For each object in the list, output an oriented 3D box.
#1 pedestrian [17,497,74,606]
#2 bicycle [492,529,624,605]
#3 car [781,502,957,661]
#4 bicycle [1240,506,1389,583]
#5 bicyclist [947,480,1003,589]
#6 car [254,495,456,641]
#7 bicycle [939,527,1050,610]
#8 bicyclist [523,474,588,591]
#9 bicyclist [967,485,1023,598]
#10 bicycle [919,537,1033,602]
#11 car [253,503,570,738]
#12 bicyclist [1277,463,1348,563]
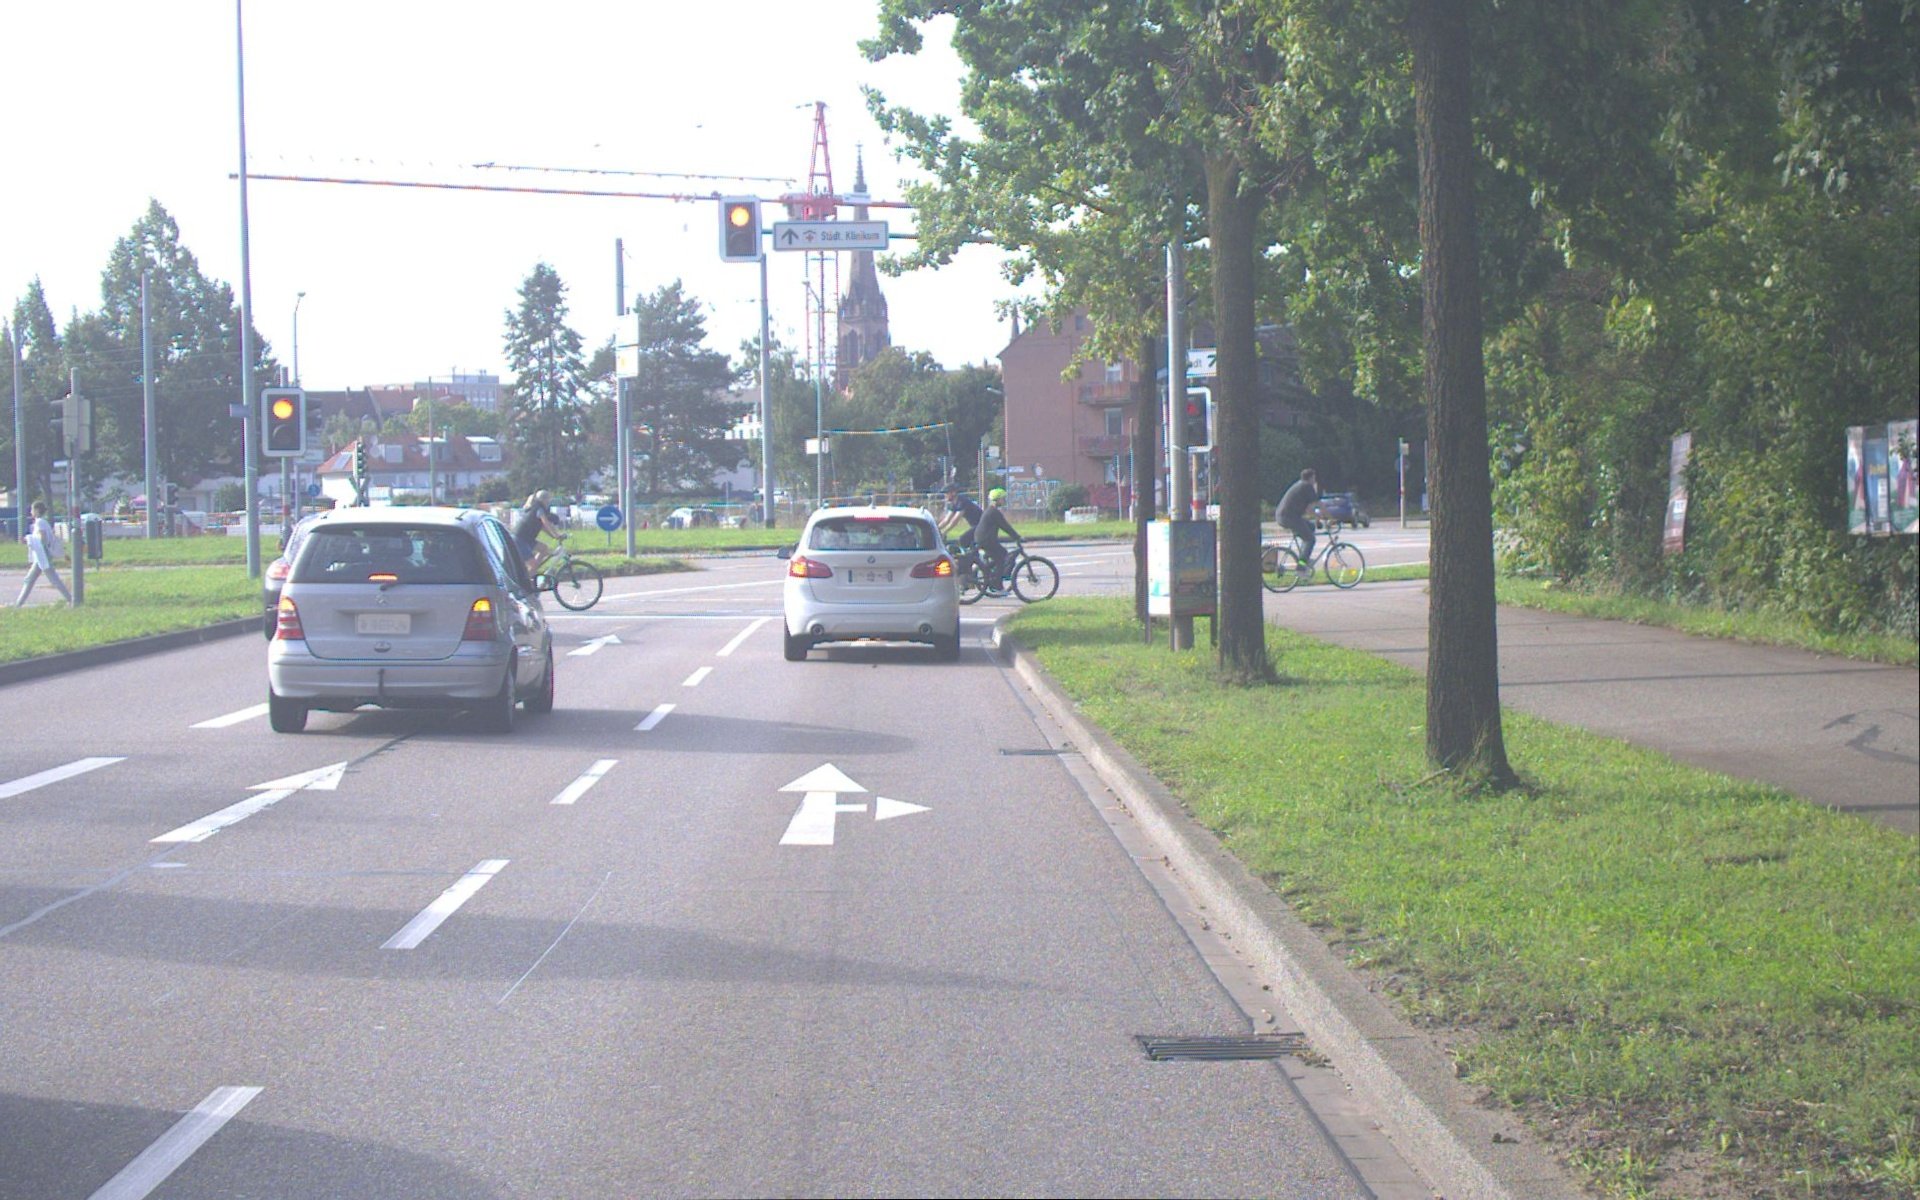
[{"bbox_3d":[-13.341,-0.716,50.164,0.654,1.563,0.616,-1,1,-5],"label":"pedestrian"},{"bbox_3d":[-5.699,-0.471,48.722,1.770,1.046,0.711,-1,1,-13],"label":"bicycle"},{"bbox_3d":[-0.960,-0.237,36.014,1.729,1.553,4.059,0,2,-2],"label":"car"},{"bbox_3d":[5.359,-0.846,52.050,2.038,1.116,0.891,-2,1,-15],"label":"bicycle"},{"bbox_3d":[0.232,-1.019,53.309,0.788,1.662,0.549,-2,1,-5],"label":"bicyclist"},{"bbox_3d":[-6.969,-0.409,39.917,1.721,1.559,3.878,1,2,-1],"label":"car"},{"bbox_3d":[0.505,-0.473,50.876,1.619,1.213,0.491,0,1,-2],"label":"bicycle"},{"bbox_3d":[-5.733,-0.954,48.703,0.829,1.642,0.686,-1,1,-13],"label":"bicyclist"},{"bbox_3d":[0.514,-0.874,50.853,0.768,1.642,0.535,-1,3,-1],"label":"bicyclist"},{"bbox_3d":[0.242,-0.477,53.313,1.674,0.963,0.644,-2,1,-6],"label":"bicycle"},{"bbox_3d":[-3.894,0.079,25.005,1.729,1.553,4.058,0,2,-1],"label":"car"},{"bbox_3d":[5.341,-1.310,52.045,0.820,1.484,0.763,-2,1,-15],"label":"bicyclist"}]
